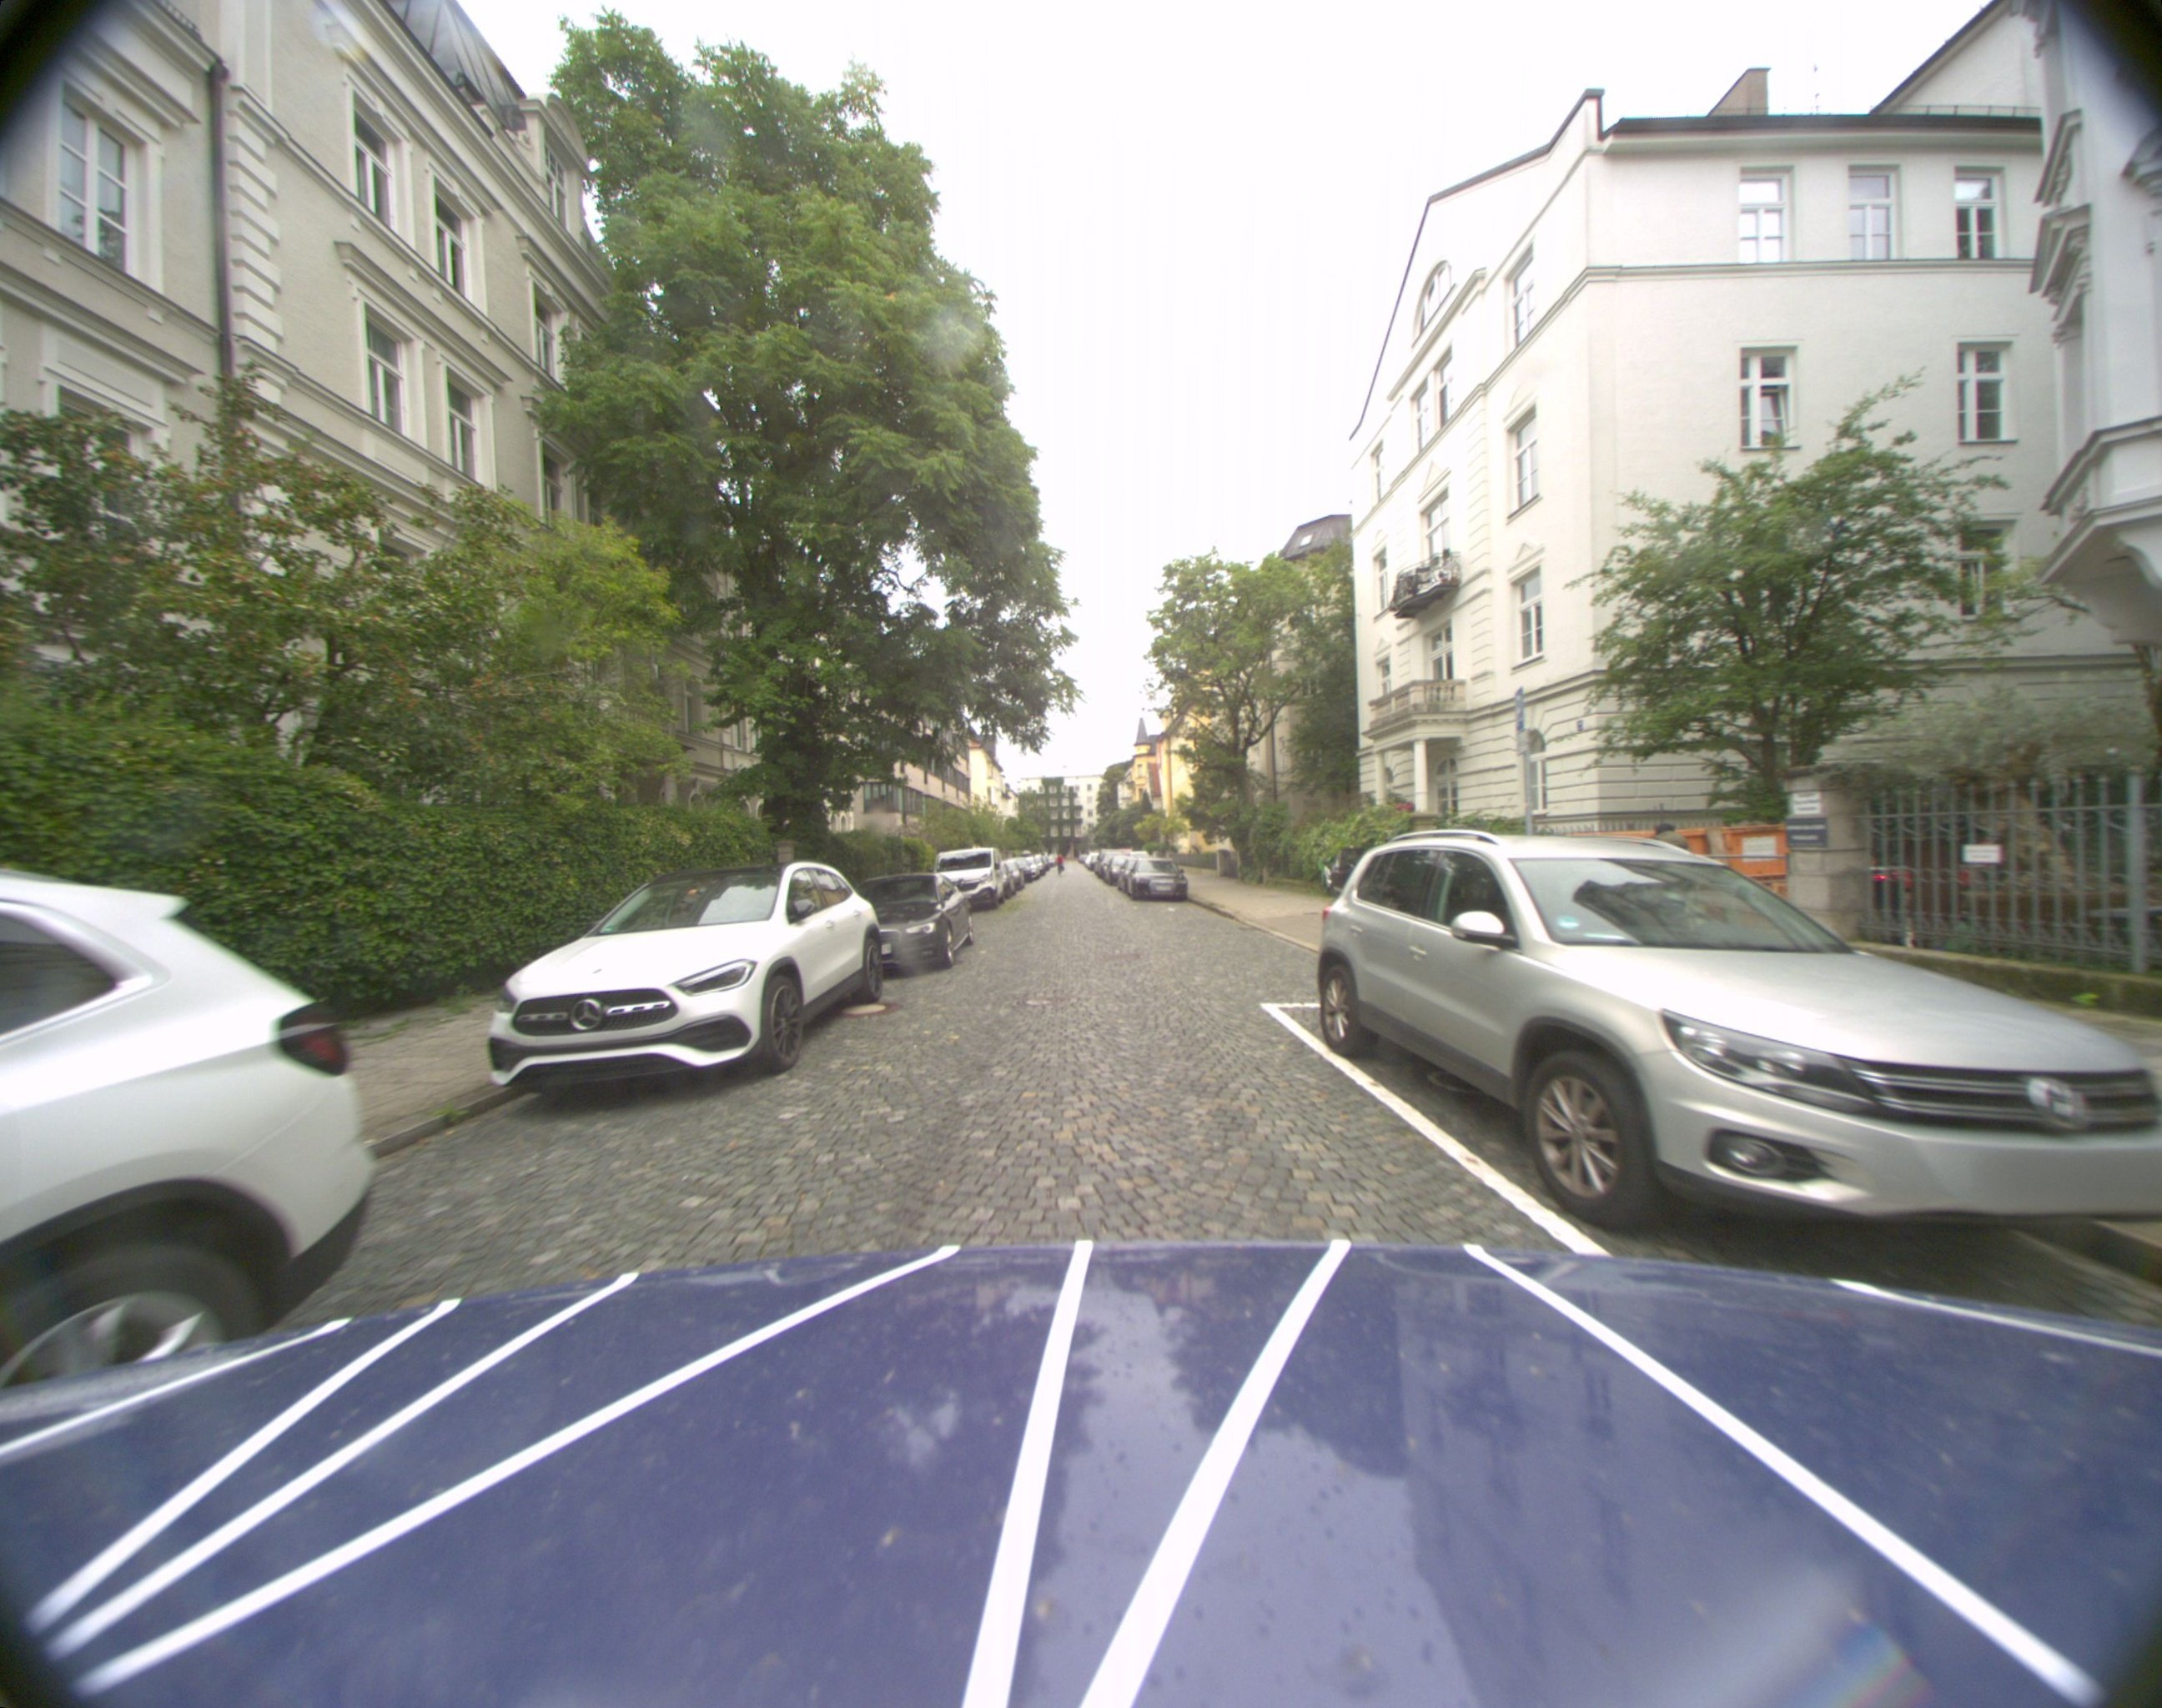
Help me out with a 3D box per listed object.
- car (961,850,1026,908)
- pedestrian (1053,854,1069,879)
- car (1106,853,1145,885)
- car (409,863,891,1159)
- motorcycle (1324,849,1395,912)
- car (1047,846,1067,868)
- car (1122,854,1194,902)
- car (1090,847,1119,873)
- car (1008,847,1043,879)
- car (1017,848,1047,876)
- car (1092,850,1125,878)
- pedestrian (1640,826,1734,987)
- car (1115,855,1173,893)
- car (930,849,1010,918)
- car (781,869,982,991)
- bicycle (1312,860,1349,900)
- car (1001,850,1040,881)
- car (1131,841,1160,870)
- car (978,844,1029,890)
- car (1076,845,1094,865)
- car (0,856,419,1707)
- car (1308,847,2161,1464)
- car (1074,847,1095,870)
[{"bbox_3d":[-3.379,0.907,30.085,1.998,2.002,3.999,-3,1,0],"label":"car"},{"bbox_3d":[-1.485,0.915,56.755,1.105,1.768,1.263,-3,1,0],"label":"pedestrian"},{"bbox_3d":[2.219,0.720,38.837,1.714,1.416,3.999,-3,1,0],"label":"car"},{"bbox_3d":[-3.127,0.964,6.788,1.752,1.591,4.471,-3,1,-1],"label":"car"},{"bbox_3d":[6.785,0.603,18.631,0.738,1.420,2.244,-4,1,-3],"label":"motorcycle"},{"bbox_3d":[-2.407,0.286,75.885,1.763,2.002,3.999,-3,1,0],"label":"car"},{"bbox_3d":[2.588,0.769,26.529,1.886,1.411,4.807,1,1,-1],"label":"car"},{"bbox_3d":[1.721,0.438,56.795,1.998,1.789,3.999,-3,1,0],"label":"car"},{"bbox_3d":[-3.718,0.582,51.703,1.998,2.002,3.999,-3,1,0],"label":"car"},{"bbox_3d":[-3.786,0.570,59.360,1.998,2.002,3.999,-3,1,0],"label":"car"},{"bbox_3d":[1.696,0.570,47.689,1.886,1.561,3.999,-3,1,0],"label":"car"},{"bbox_3d":[6.420,0.529,8.082,0.665,1.618,0.670,-2,2,31],"label":"pedestrian"},{"bbox_3d":[2.528,0.774,31.299,1.998,1.324,3.999,-3,0,0],"label":"car"},{"bbox_3d":[-3.424,0.836,24.373,1.819,1.809,4.807,-6,1,-2],"label":"car"},{"bbox_3d":[-2.810,1.007,11.956,1.924,1.291,4.807,-3,1,-1],"label":"car"},{"bbox_3d":[7.102,0.720,21.662,0.357,1.044,1.743,-3,1,-3],"label":"bicycle"},{"bbox_3d":[-3.660,0.692,46.810,1.998,1.705,3.999,-3,1,0],"label":"car"},{"bbox_3d":[4.739,0.064,56.099,1.763,2.002,3.999,-3,1,0],"label":"car"},{"bbox_3d":[-3.695,0.582,36.869,1.998,2.002,3.999,-3,1,0],"label":"car"},{"bbox_3d":[0.383,0.102,79.764,1.791,2.002,3.214,-3,1,0],"label":"car"},{"bbox_3d":[-3.149,0.930,0.124,1.925,1.676,4.632,-2,1,0],"label":"car"},{"bbox_3d":[2.768,0.788,4.080,1.694,1.563,4.067,-3,1,-2],"label":"car"},{"bbox_3d":[0.337,0.374,69.858,1.763,2.002,3.999,-3,1,0],"label":"car"}]
